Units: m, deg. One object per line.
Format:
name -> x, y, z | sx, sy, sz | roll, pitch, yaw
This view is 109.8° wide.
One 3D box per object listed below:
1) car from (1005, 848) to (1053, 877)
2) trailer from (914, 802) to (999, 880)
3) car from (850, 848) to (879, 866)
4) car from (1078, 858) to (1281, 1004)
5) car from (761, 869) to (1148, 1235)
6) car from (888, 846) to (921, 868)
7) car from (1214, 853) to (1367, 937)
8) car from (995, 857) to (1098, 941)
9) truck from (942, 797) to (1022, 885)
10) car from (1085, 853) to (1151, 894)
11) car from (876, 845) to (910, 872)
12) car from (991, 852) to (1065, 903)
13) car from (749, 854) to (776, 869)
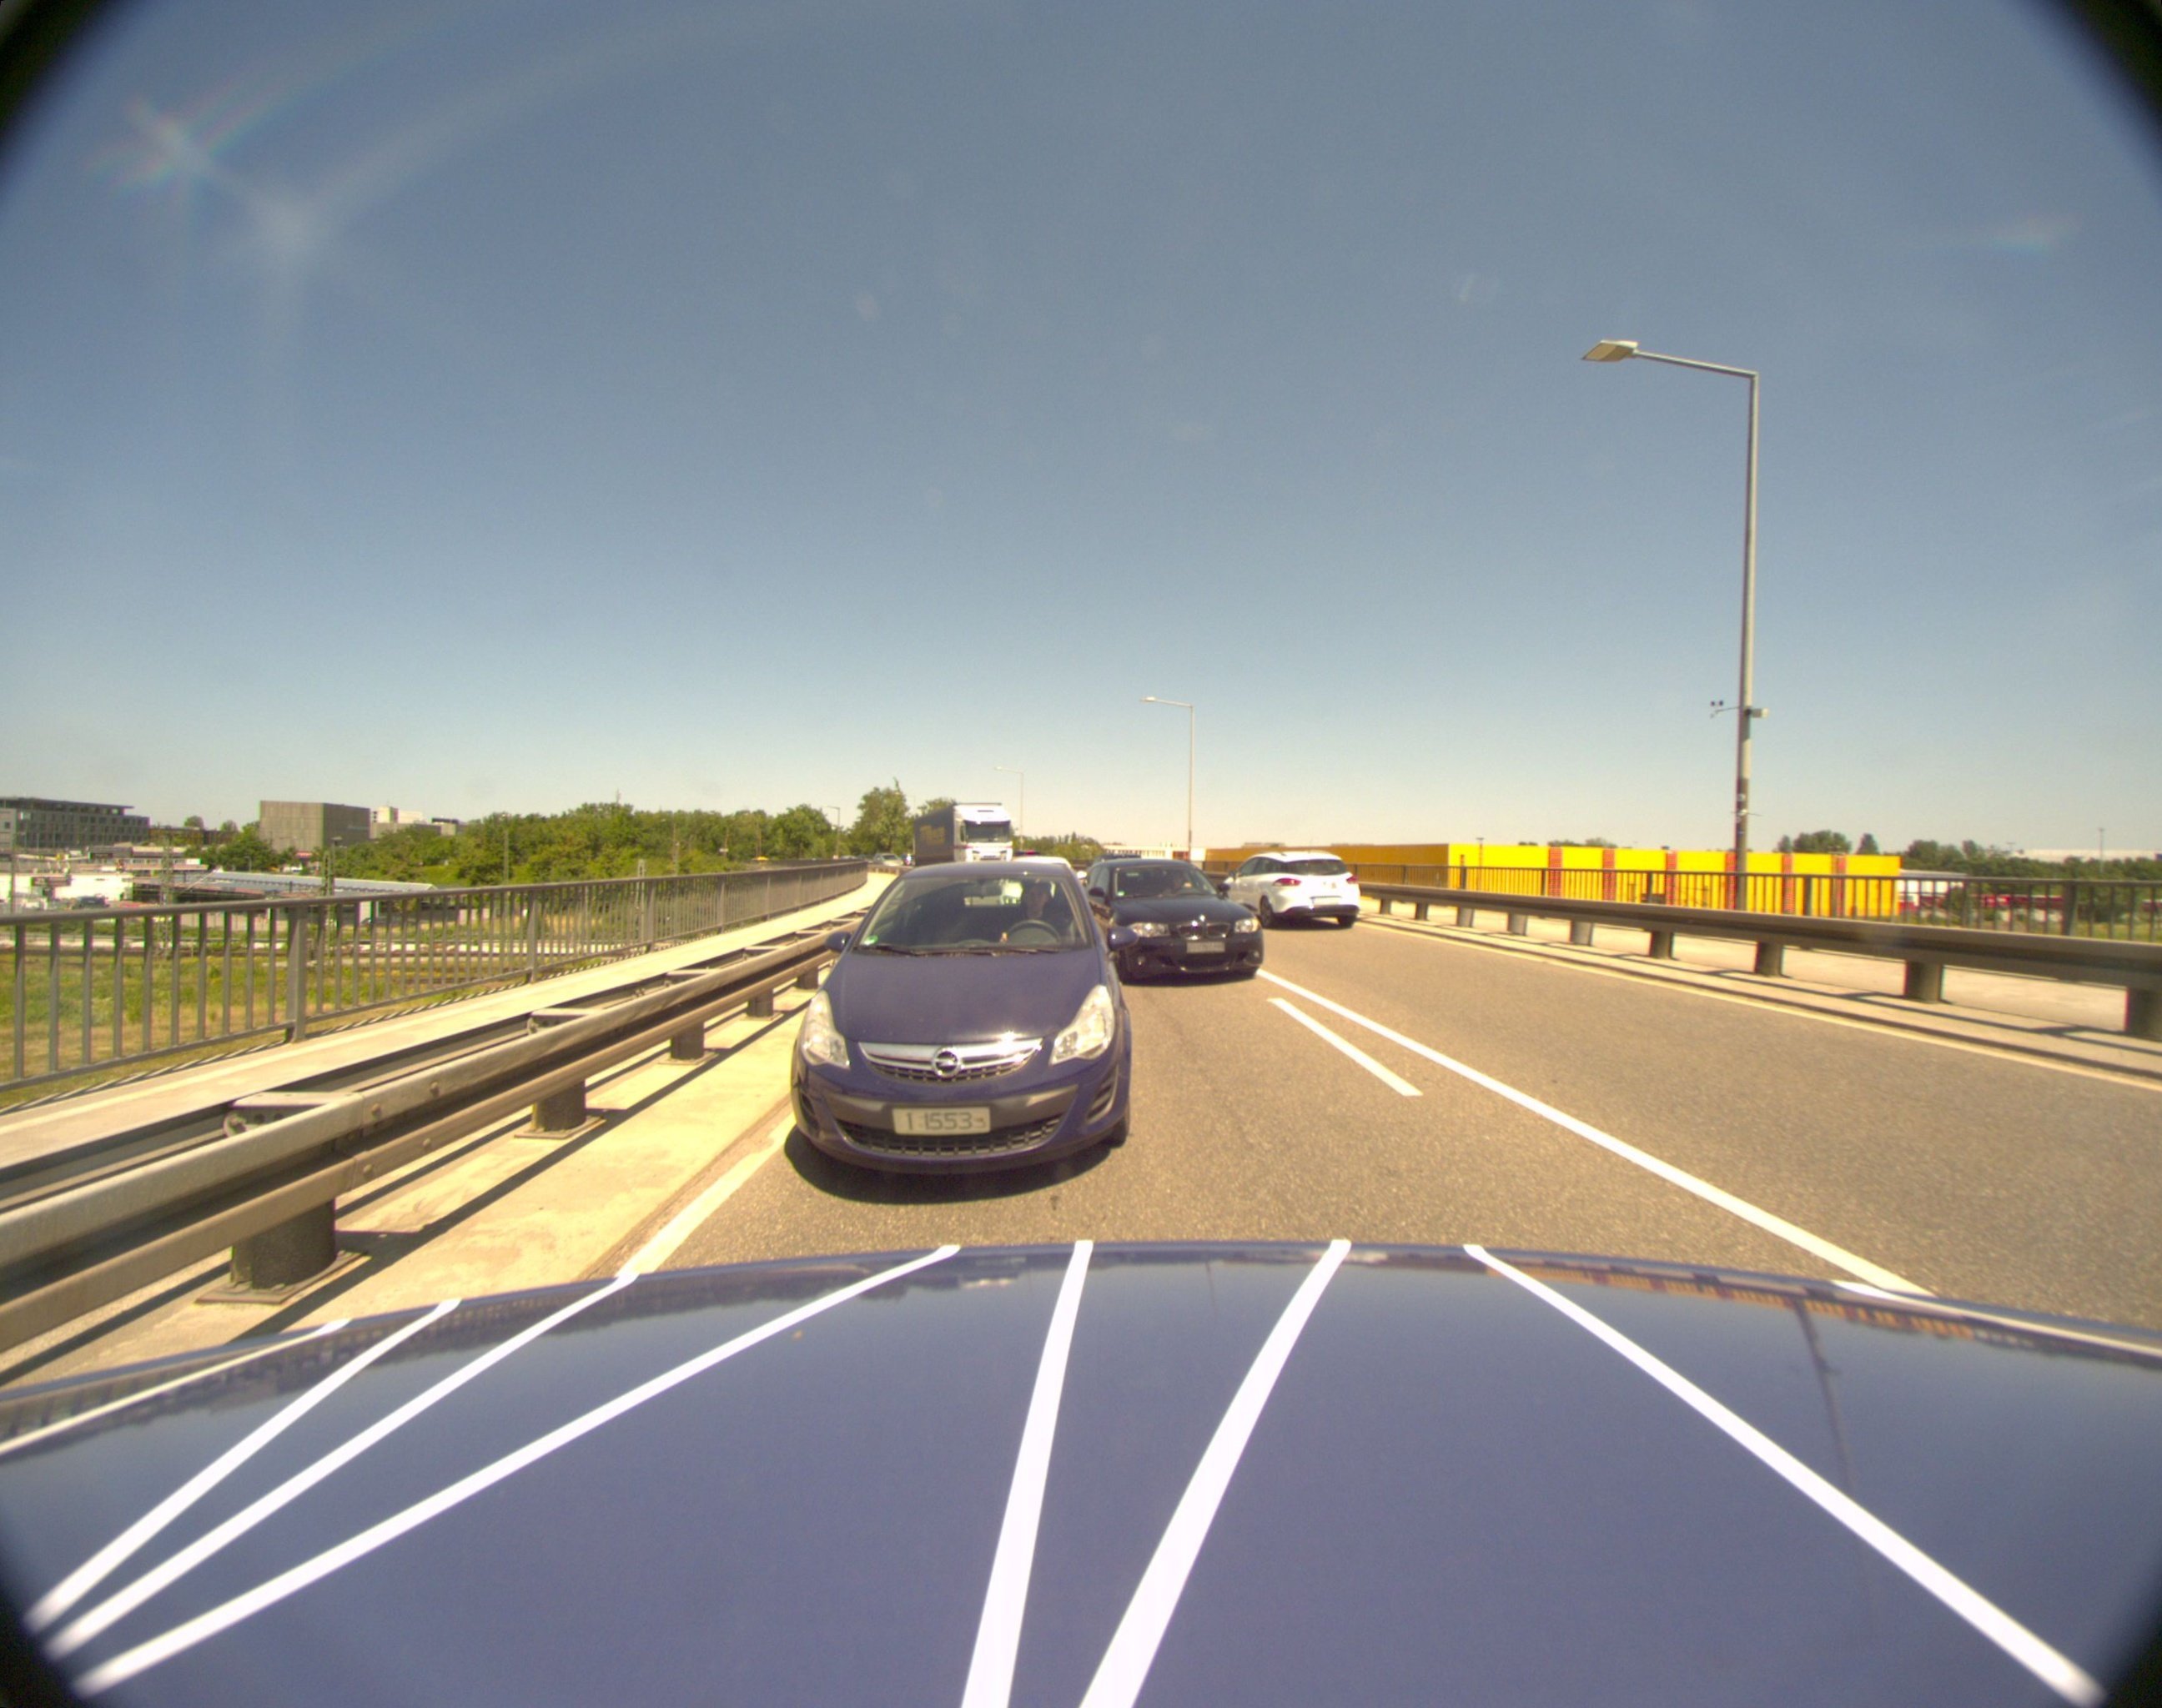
car -> -3.177, 0.484, 45.787 | 1.974, 1.663, 4.607 | -1, 0, -16
trailer -> -8.118, -0.813, 47.764 | 2.704, 4.211, 12.689 | -2, 1, -20
car -> -24.793, 0.339, 86.968 | 2.003, 2.002, 3.990 | -3, 1, -33
car -> 1.068, 0.834, 10.441 | 1.795, 1.447, 4.520 | -1, 1, -5
car -> -0.662, 0.903, 5.341 | 1.645, 1.431, 3.998 | -2, 1, -4
car -> -17.202, 0.284, 73.949 | 2.003, 2.002, 3.991 | -2, 0, -31
car -> 4.073, 0.721, 15.489 | 1.604, 1.441, 4.053 | -1, 1, -6
car -> -0.880, 0.830, 16.359 | 1.795, 1.447, 4.519 | -2, 1, -8
truck -> -5.401, -0.708, 40.281 | 2.699, 4.205, 6.827 | -3, 2, -19
car -> 1.376, 0.713, 29.982 | 1.716, 1.460, 4.456 | -1, 0, -8
car -> -16.594, 0.438, 66.882 | 2.002, 2.001, 3.994 | -5, -1, -26
car -> -1.816, 0.694, 24.597 | 1.796, 1.446, 4.518 | -2, 0, -11
car -> -43.090, 1.015, 102.853 | 2.004, 2.002, 3.988 | -2, 1, -43
